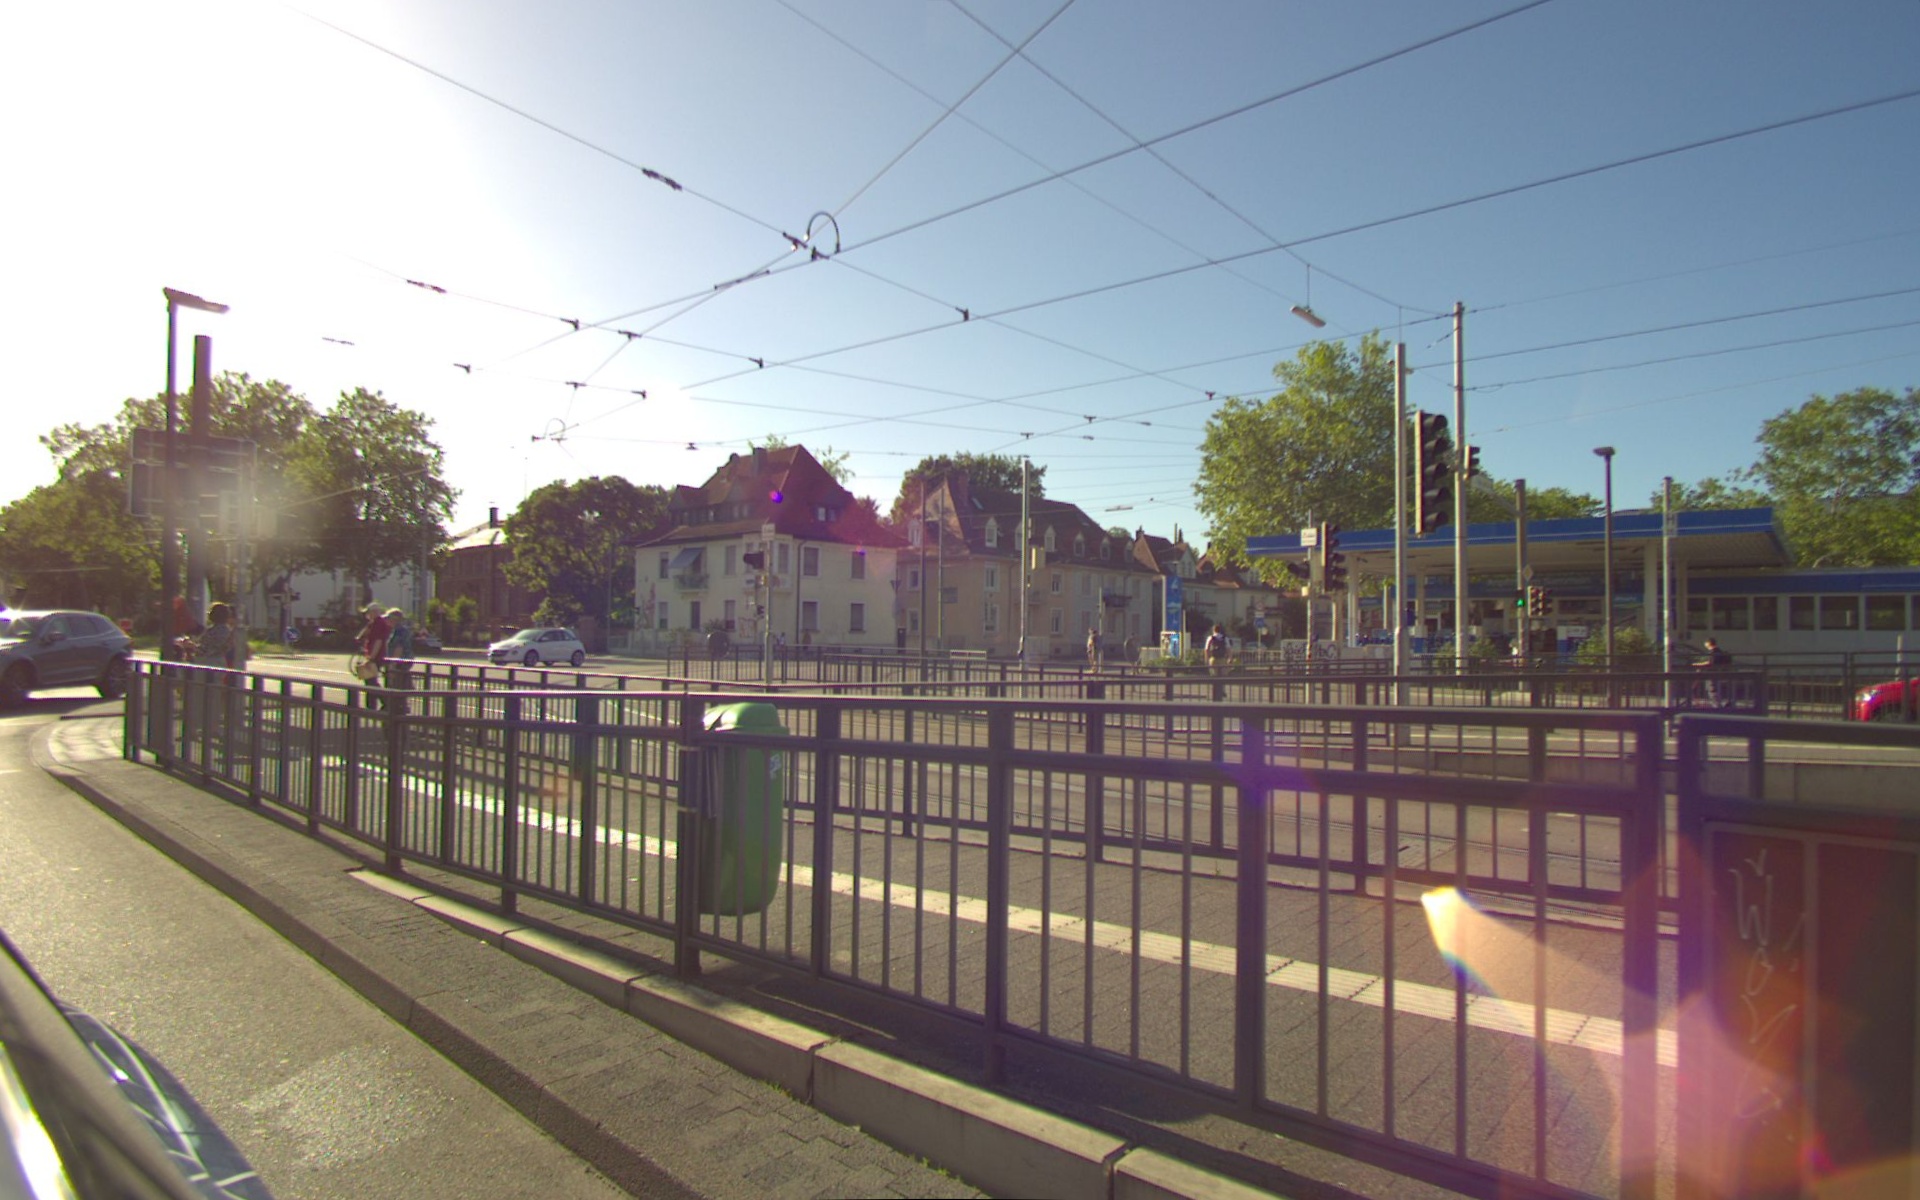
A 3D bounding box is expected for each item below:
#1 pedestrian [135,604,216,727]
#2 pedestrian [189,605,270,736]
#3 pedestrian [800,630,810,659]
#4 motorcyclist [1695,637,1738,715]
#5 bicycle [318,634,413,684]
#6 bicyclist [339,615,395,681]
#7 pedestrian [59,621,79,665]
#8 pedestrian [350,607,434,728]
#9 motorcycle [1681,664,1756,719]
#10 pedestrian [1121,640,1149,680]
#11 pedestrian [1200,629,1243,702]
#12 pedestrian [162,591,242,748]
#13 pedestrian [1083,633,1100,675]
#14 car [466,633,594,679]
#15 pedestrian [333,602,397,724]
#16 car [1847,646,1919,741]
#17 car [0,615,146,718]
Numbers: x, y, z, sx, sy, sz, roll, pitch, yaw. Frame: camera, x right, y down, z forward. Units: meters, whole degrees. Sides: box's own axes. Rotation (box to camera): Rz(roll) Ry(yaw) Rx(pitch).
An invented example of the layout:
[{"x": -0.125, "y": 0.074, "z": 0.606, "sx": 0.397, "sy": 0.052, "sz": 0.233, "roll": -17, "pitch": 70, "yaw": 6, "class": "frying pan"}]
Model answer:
[{"x": -11.345, "y": 0.930, "z": 14.628, "sx": 0.776, "sy": 1.703, "sz": 0.788, "roll": -2, "pitch": -3, "yaw": 44, "class": "pedestrian"}, {"x": -9.900, "y": 0.936, "z": 13.719, "sx": 0.776, "sy": 1.703, "sz": 0.733, "roll": -2, "pitch": -3, "yaw": 44, "class": "pedestrian"}, {"x": -9.255, "y": 2.656, "z": 60.306, "sx": 0.409, "sy": 1.756, "sz": 0.411, "roll": -2, "pitch": -3, "yaw": 41, "class": "pedestrian"}, {"x": 18.508, "y": 1.850, "z": 24.763, "sx": 0.745, "sy": 1.866, "sz": 0.544, "roll": -2, "pitch": -3, "yaw": 45, "class": "motorcyclist"}, {"x": -17.388, "y": 1.699, "z": 29.678, "sx": 1.013, "sy": 1.367, "sz": 2.368, "roll": 0, "pitch": -2, "yaw": 14, "class": "bicycle"}, {"x": -17.371, "y": 1.400, "z": 29.668, "sx": 0.984, "sy": 1.897, "sz": 0.999, "roll": 0, "pitch": -2, "yaw": 15, "class": "bicyclist"}, {"x": -37.847, "y": 1.825, "z": 42.977, "sx": 0.572, "sy": 1.849, "sz": 0.560, "roll": 2, "pitch": -3, "yaw": -39, "class": "pedestrian"}, {"x": -8.354, "y": 0.972, "z": 14.889, "sx": 1.008, "sy": 1.703, "sz": 0.792, "roll": -2, "pitch": -3, "yaw": 44, "class": "pedestrian"}, {"x": 18.521, "y": 2.220, "z": 24.741, "sx": 0.543, "sy": 1.254, "sz": 1.388, "roll": 2, "pitch": -3, "yaw": -45, "class": "motorcycle"}, {"x": 6.782, "y": 2.310, "z": 39.227, "sx": 0.800, "sy": 1.495, "sz": 0.758, "roll": -1, "pitch": -3, "yaw": 39, "class": "pedestrian"}, {"x": 6.234, "y": 1.536, "z": 24.139, "sx": 0.824, "sy": 1.703, "sz": 0.646, "roll": -1, "pitch": -2, "yaw": 33, "class": "pedestrian"}, {"x": -9.258, "y": 0.825, "z": 12.352, "sx": 0.776, "sy": 1.841, "sz": 0.628, "roll": -2, "pitch": -3, "yaw": 44, "class": "pedestrian"}, {"x": 5.560, "y": 2.293, "z": 42.934, "sx": 0.486, "sy": 1.783, "sz": 0.523, "roll": 2, "pitch": -3, "yaw": -37, "class": "pedestrian"}, {"x": -16.114, "y": 2.056, "z": 38.181, "sx": 1.988, "sy": 1.616, "sz": 4.237, "roll": 0, "pitch": -2, "yaw": 24, "class": "car"}, {"x": -9.314, "y": 0.974, "z": 15.848, "sx": 0.808, "sy": 1.846, "sz": 0.642, "roll": -2, "pitch": -3, "yaw": 44, "class": "pedestrian"}, {"x": 16.154, "y": 1.445, "z": 15.354, "sx": 4.000, "sy": 1.431, "sz": 1.778, "roll": -1, "pitch": -3, "yaw": 43, "class": "car"}, {"x": -17.016, "y": 1.130, "z": 18.091, "sx": 1.948, "sy": 1.682, "sz": 4.631, "roll": 0, "pitch": -1, "yaw": -12, "class": "car"}]
